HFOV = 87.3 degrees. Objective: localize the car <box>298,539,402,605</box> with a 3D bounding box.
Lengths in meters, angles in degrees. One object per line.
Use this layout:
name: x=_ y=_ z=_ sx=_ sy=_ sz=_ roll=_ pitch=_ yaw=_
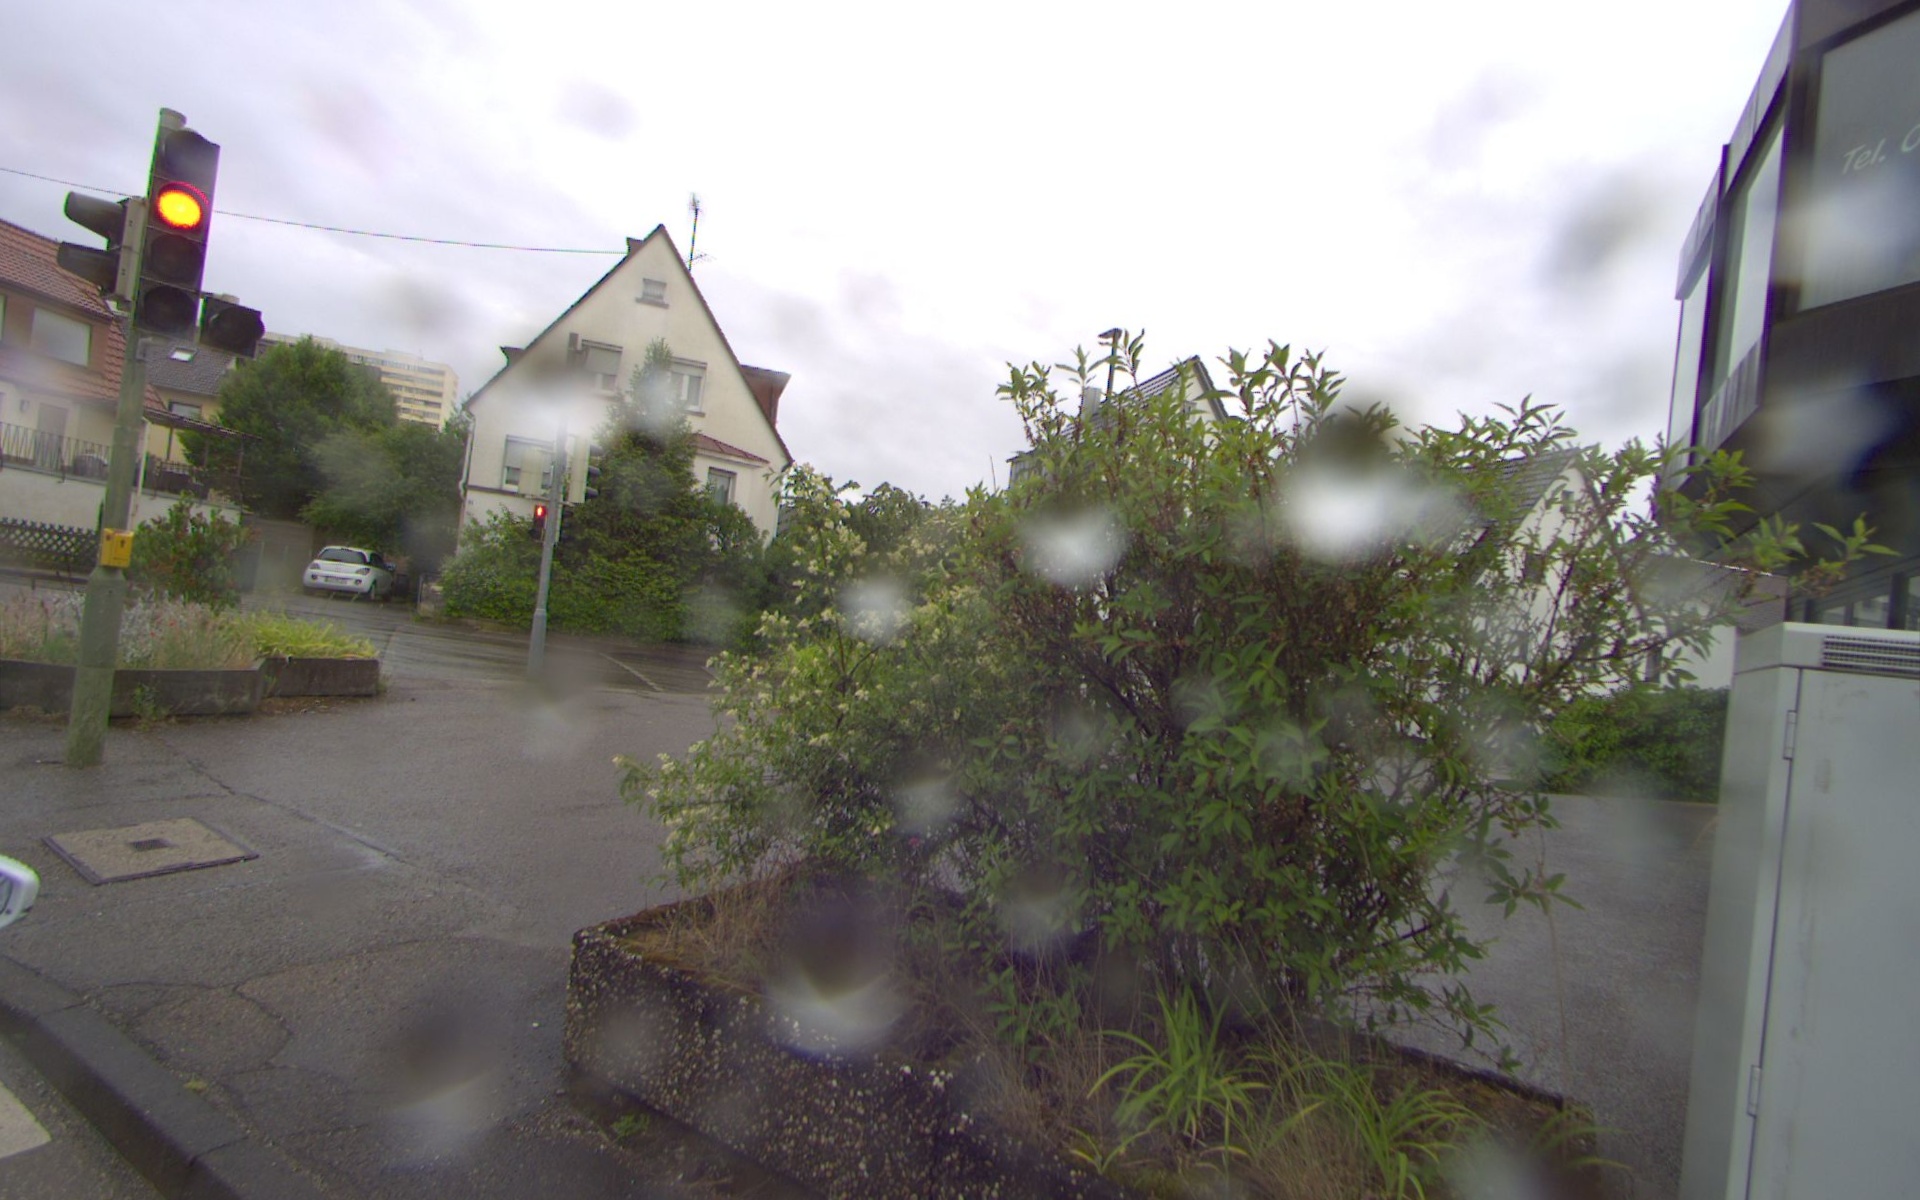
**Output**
car: x=-17.695 y=-0.794 z=29.385 sx=1.722 sy=1.532 sz=3.982 roll=9 pitch=-2 yaw=-21
